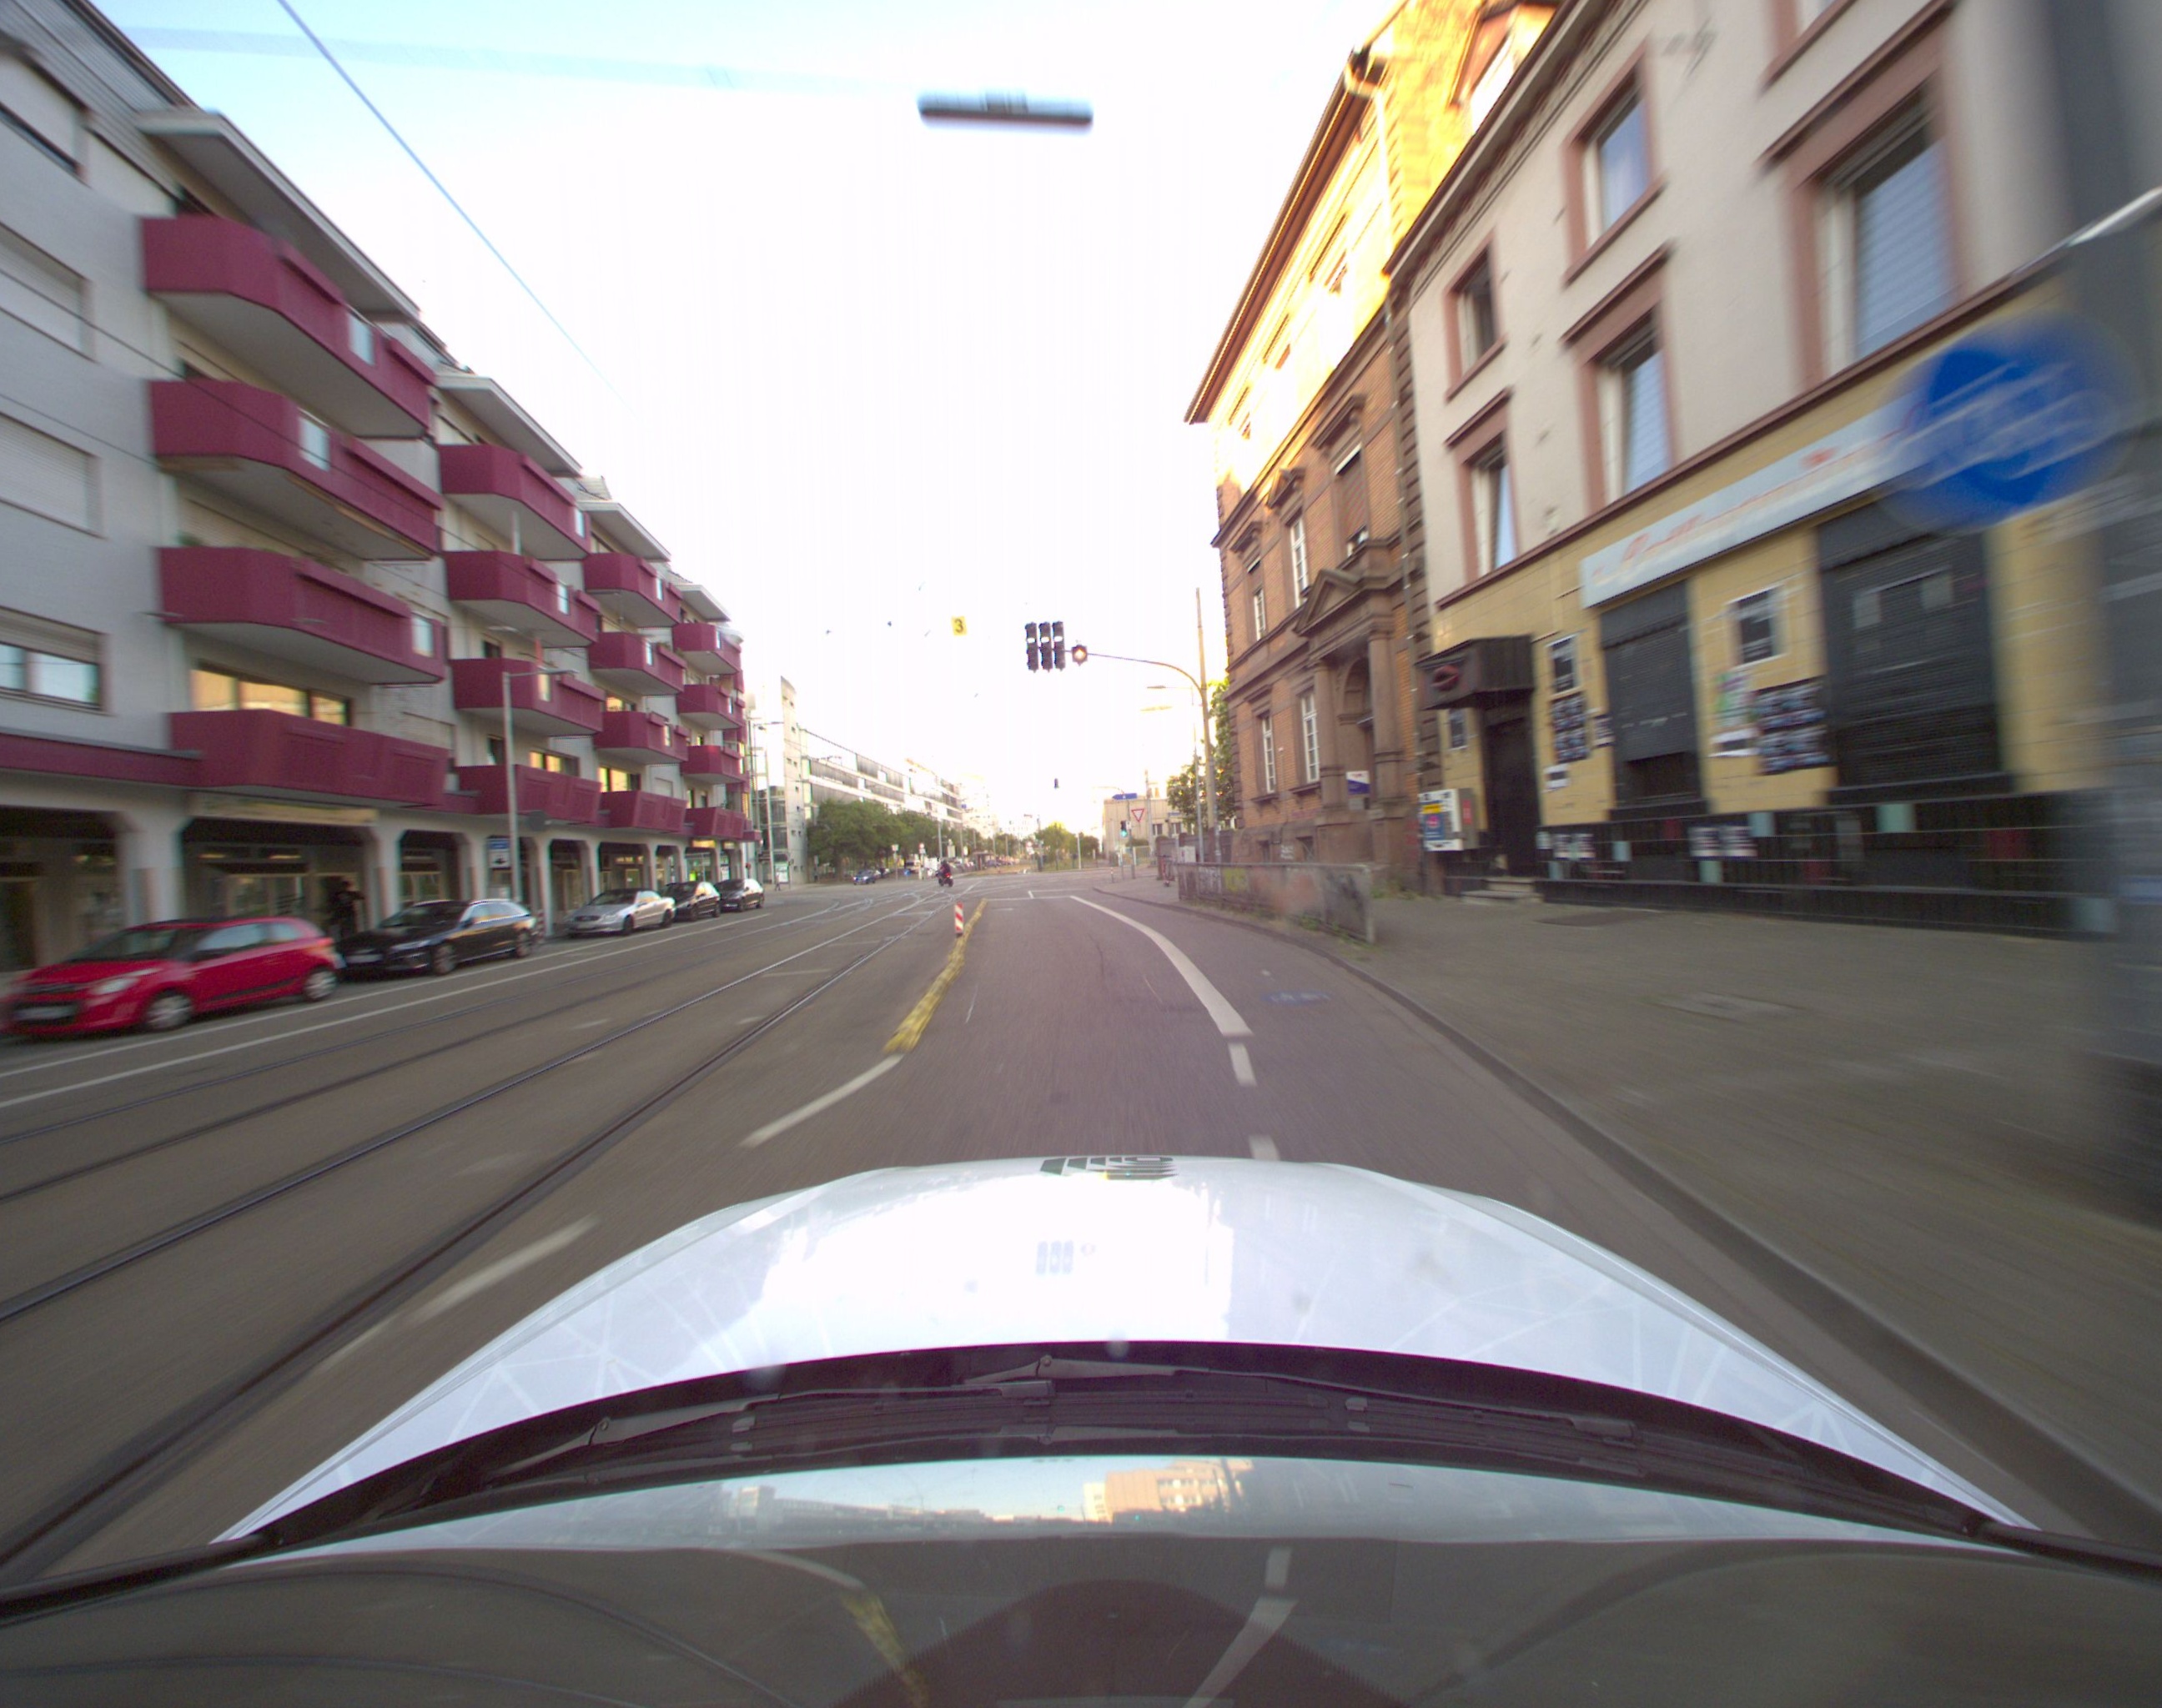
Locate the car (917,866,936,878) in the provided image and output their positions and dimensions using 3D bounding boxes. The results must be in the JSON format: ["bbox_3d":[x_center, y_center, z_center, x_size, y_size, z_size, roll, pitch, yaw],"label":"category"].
[{"bbox_3d":[-20.477,2.389,108.178,1.677,1.439,4.125,-4,0,0],"label":"car"}]

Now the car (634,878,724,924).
[{"bbox_3d":[-15.506,1.757,31.655,1.786,1.508,4.190,-2,-1,-7],"label":"car"}]

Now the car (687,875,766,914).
[{"bbox_3d":[-16.079,1.799,37.238,1.850,1.456,5.074,-4,0,-7],"label":"car"}]

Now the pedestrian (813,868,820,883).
[{"bbox_3d":[-33.720,2.747,103.973,0.662,1.922,0.546,-4,0,-11],"label":"pedestrian"}]

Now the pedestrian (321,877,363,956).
[{"bbox_3d":[-19.683,1.647,21.699,0.524,2.013,0.525,-4,0,-12],"label":"pedestrian"}]

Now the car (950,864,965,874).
[{"bbox_3d":[-20.164,2.459,133.360,1.677,1.439,4.125,-4,0,0],"label":"car"}]

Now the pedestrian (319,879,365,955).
[{"bbox_3d":[-19.097,1.622,21.047,0.609,1.872,0.529,-4,0,13],"label":"pedestrian"}]

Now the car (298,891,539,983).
[{"bbox_3d":[-13.826,1.640,17.428,1.993,1.479,4.467,-2,-1,-9],"label":"car"}]

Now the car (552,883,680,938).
[{"bbox_3d":[-14.611,1.706,25.914,1.689,1.414,4.668,-2,-1,-5],"label":"car"}]

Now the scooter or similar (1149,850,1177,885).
[{"bbox_3d":[3.122,0.514,31.096,0.641,1.266,1.579,-5,0,-6],"label":"scooter or similar"}]

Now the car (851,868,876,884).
[{"bbox_3d":[-25.965,2.562,97.426,1.676,1.699,4.241,-4,0,2],"label":"car"}]

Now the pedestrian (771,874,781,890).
[{"bbox_3d":[-32.339,2.972,86.343,0.543,1.711,0.662,-4,0,10],"label":"pedestrian"}]

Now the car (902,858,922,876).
[{"bbox_3d":[-31.022,2.330,149.706,2.194,3.151,6.143,-4,0,1],"label":"car"}]

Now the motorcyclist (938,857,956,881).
[{"bbox_3d":[-8.666,1.002,52.614,0.832,1.473,1.197,-4,0,-24],"label":"motorcyclist"}]

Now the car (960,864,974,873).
[{"bbox_3d":[-19.875,2.466,141.758,1.677,1.439,4.125,-4,0,0],"label":"car"}]

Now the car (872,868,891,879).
[{"bbox_3d":[-31.232,3.032,127.573,1.677,1.501,4.239,-4,0,1],"label":"car"}]

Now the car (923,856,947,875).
[{"bbox_3d":[-20.403,1.587,113.929,2.456,2.482,5.800,-4,0,-4],"label":"car"}]

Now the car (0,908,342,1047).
[{"bbox_3d":[-12.978,1.634,11.768,1.609,1.479,3.472,-2,-1,-6],"label":"car"}]

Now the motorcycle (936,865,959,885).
[{"bbox_3d":[-8.658,1.370,52.675,0.832,1.240,2.471,-4,0,-24],"label":"motorcycle"}]
